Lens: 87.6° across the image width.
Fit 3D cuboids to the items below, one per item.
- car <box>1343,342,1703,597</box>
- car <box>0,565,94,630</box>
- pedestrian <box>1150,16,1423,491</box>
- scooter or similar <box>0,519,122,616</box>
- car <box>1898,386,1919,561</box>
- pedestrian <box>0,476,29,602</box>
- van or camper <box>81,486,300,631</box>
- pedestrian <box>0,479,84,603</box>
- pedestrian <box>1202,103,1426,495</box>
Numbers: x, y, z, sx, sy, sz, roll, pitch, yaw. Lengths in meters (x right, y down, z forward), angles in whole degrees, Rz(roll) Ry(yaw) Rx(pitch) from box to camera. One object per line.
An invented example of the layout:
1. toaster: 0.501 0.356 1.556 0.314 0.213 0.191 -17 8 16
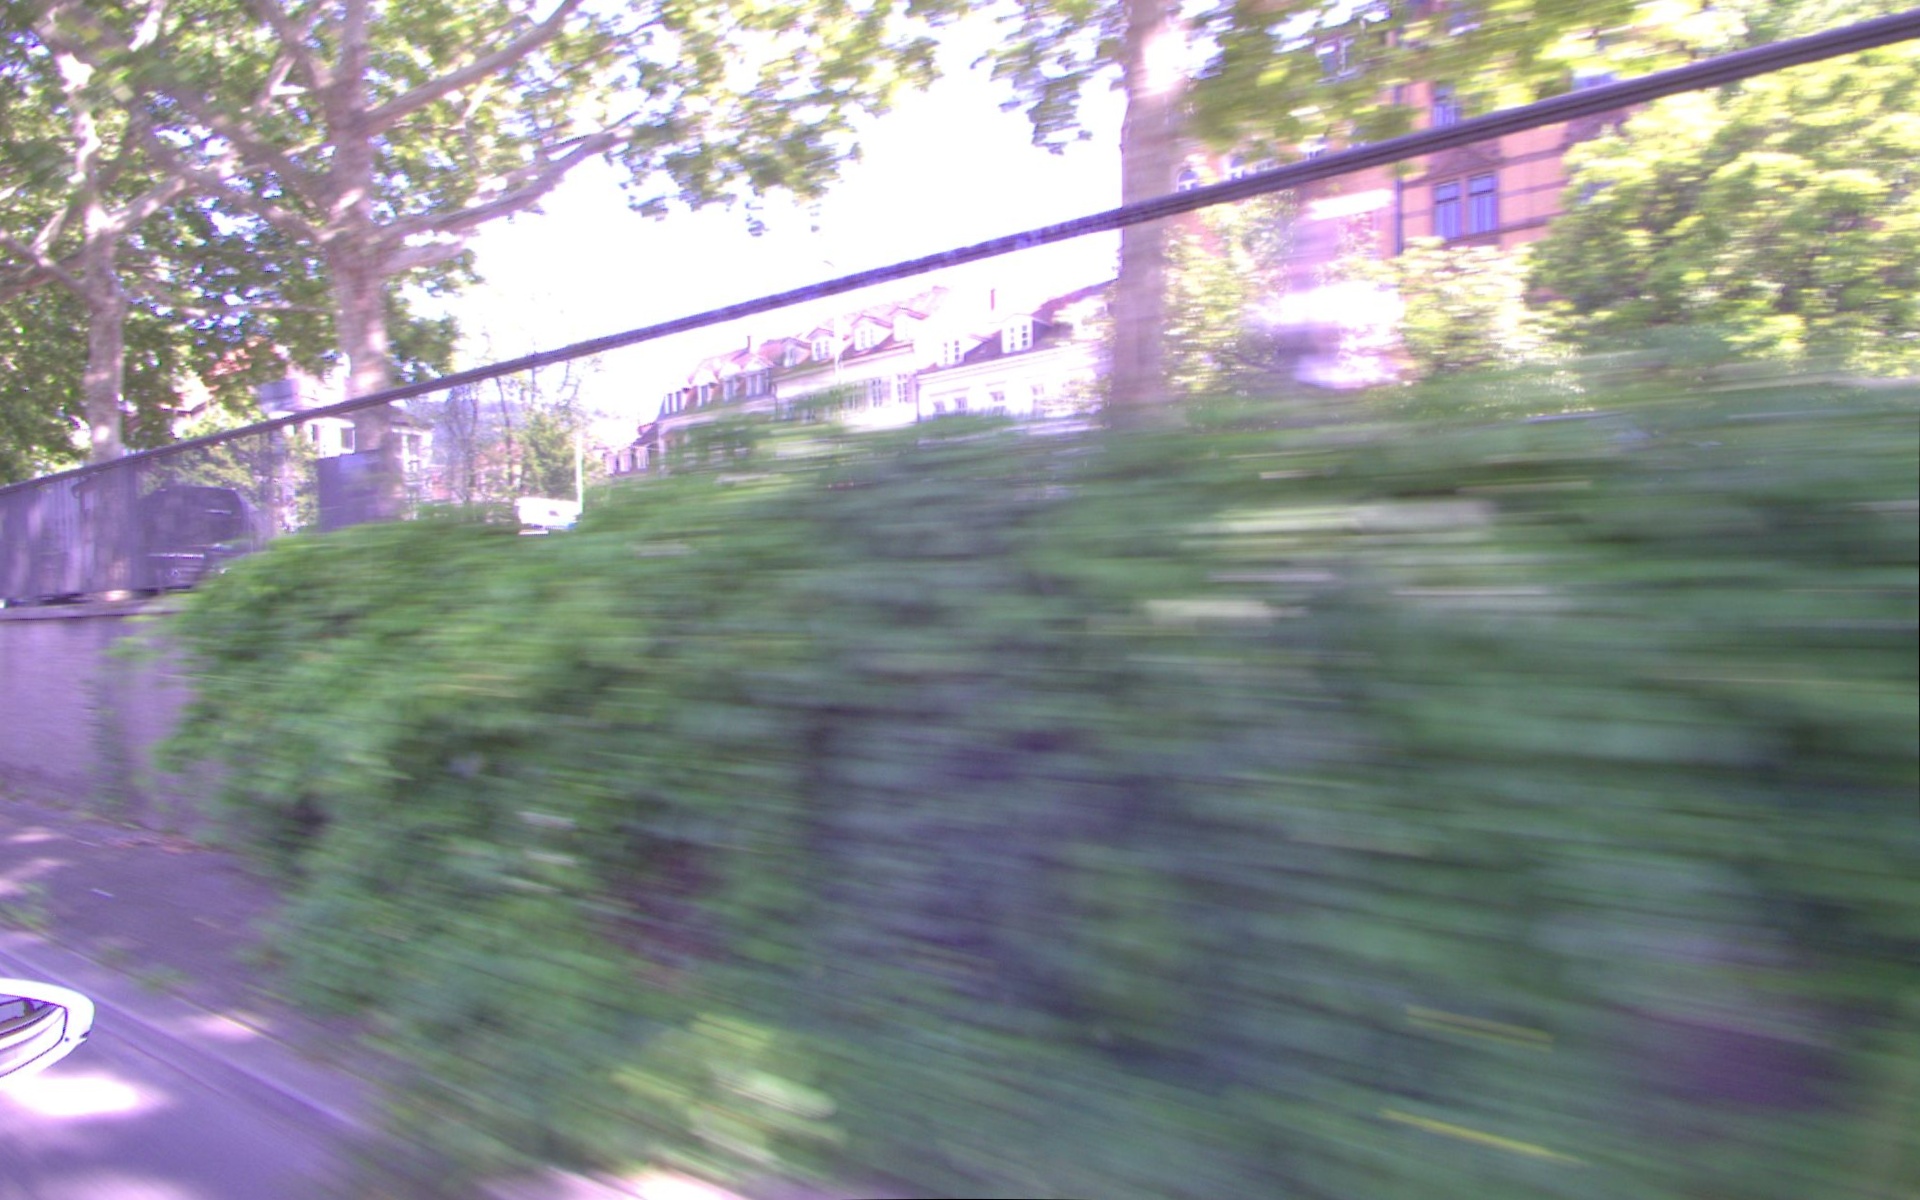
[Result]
1. car: 3.993 -0.734 6.824 1.497 1.252 3.504 0 3 41
2. car: -23.038 -0.019 24.948 1.632 1.520 3.796 0 -1 -32
3. pedestrian: 1.222 -1.142 3.685 0.802 1.384 0.751 0 3 30
4. scooter or similar: -10.337 -0.361 11.407 1.091 1.040 0.853 -1 3 31
5. car: 7.027 -0.854 5.426 1.647 1.252 3.723 -1 2 23
6. pedestrian: -12.725 -0.758 12.753 1.012 1.601 0.934 0 3 30
7. van or camper: -15.259 -0.582 20.414 2.311 2.210 7.327 2 -4 -28
8. pedestrian: -11.027 -0.675 11.841 0.975 1.384 0.678 0 3 31
9. pedestrian: 1.521 -1.181 4.264 0.782 1.384 0.642 0 3 30
